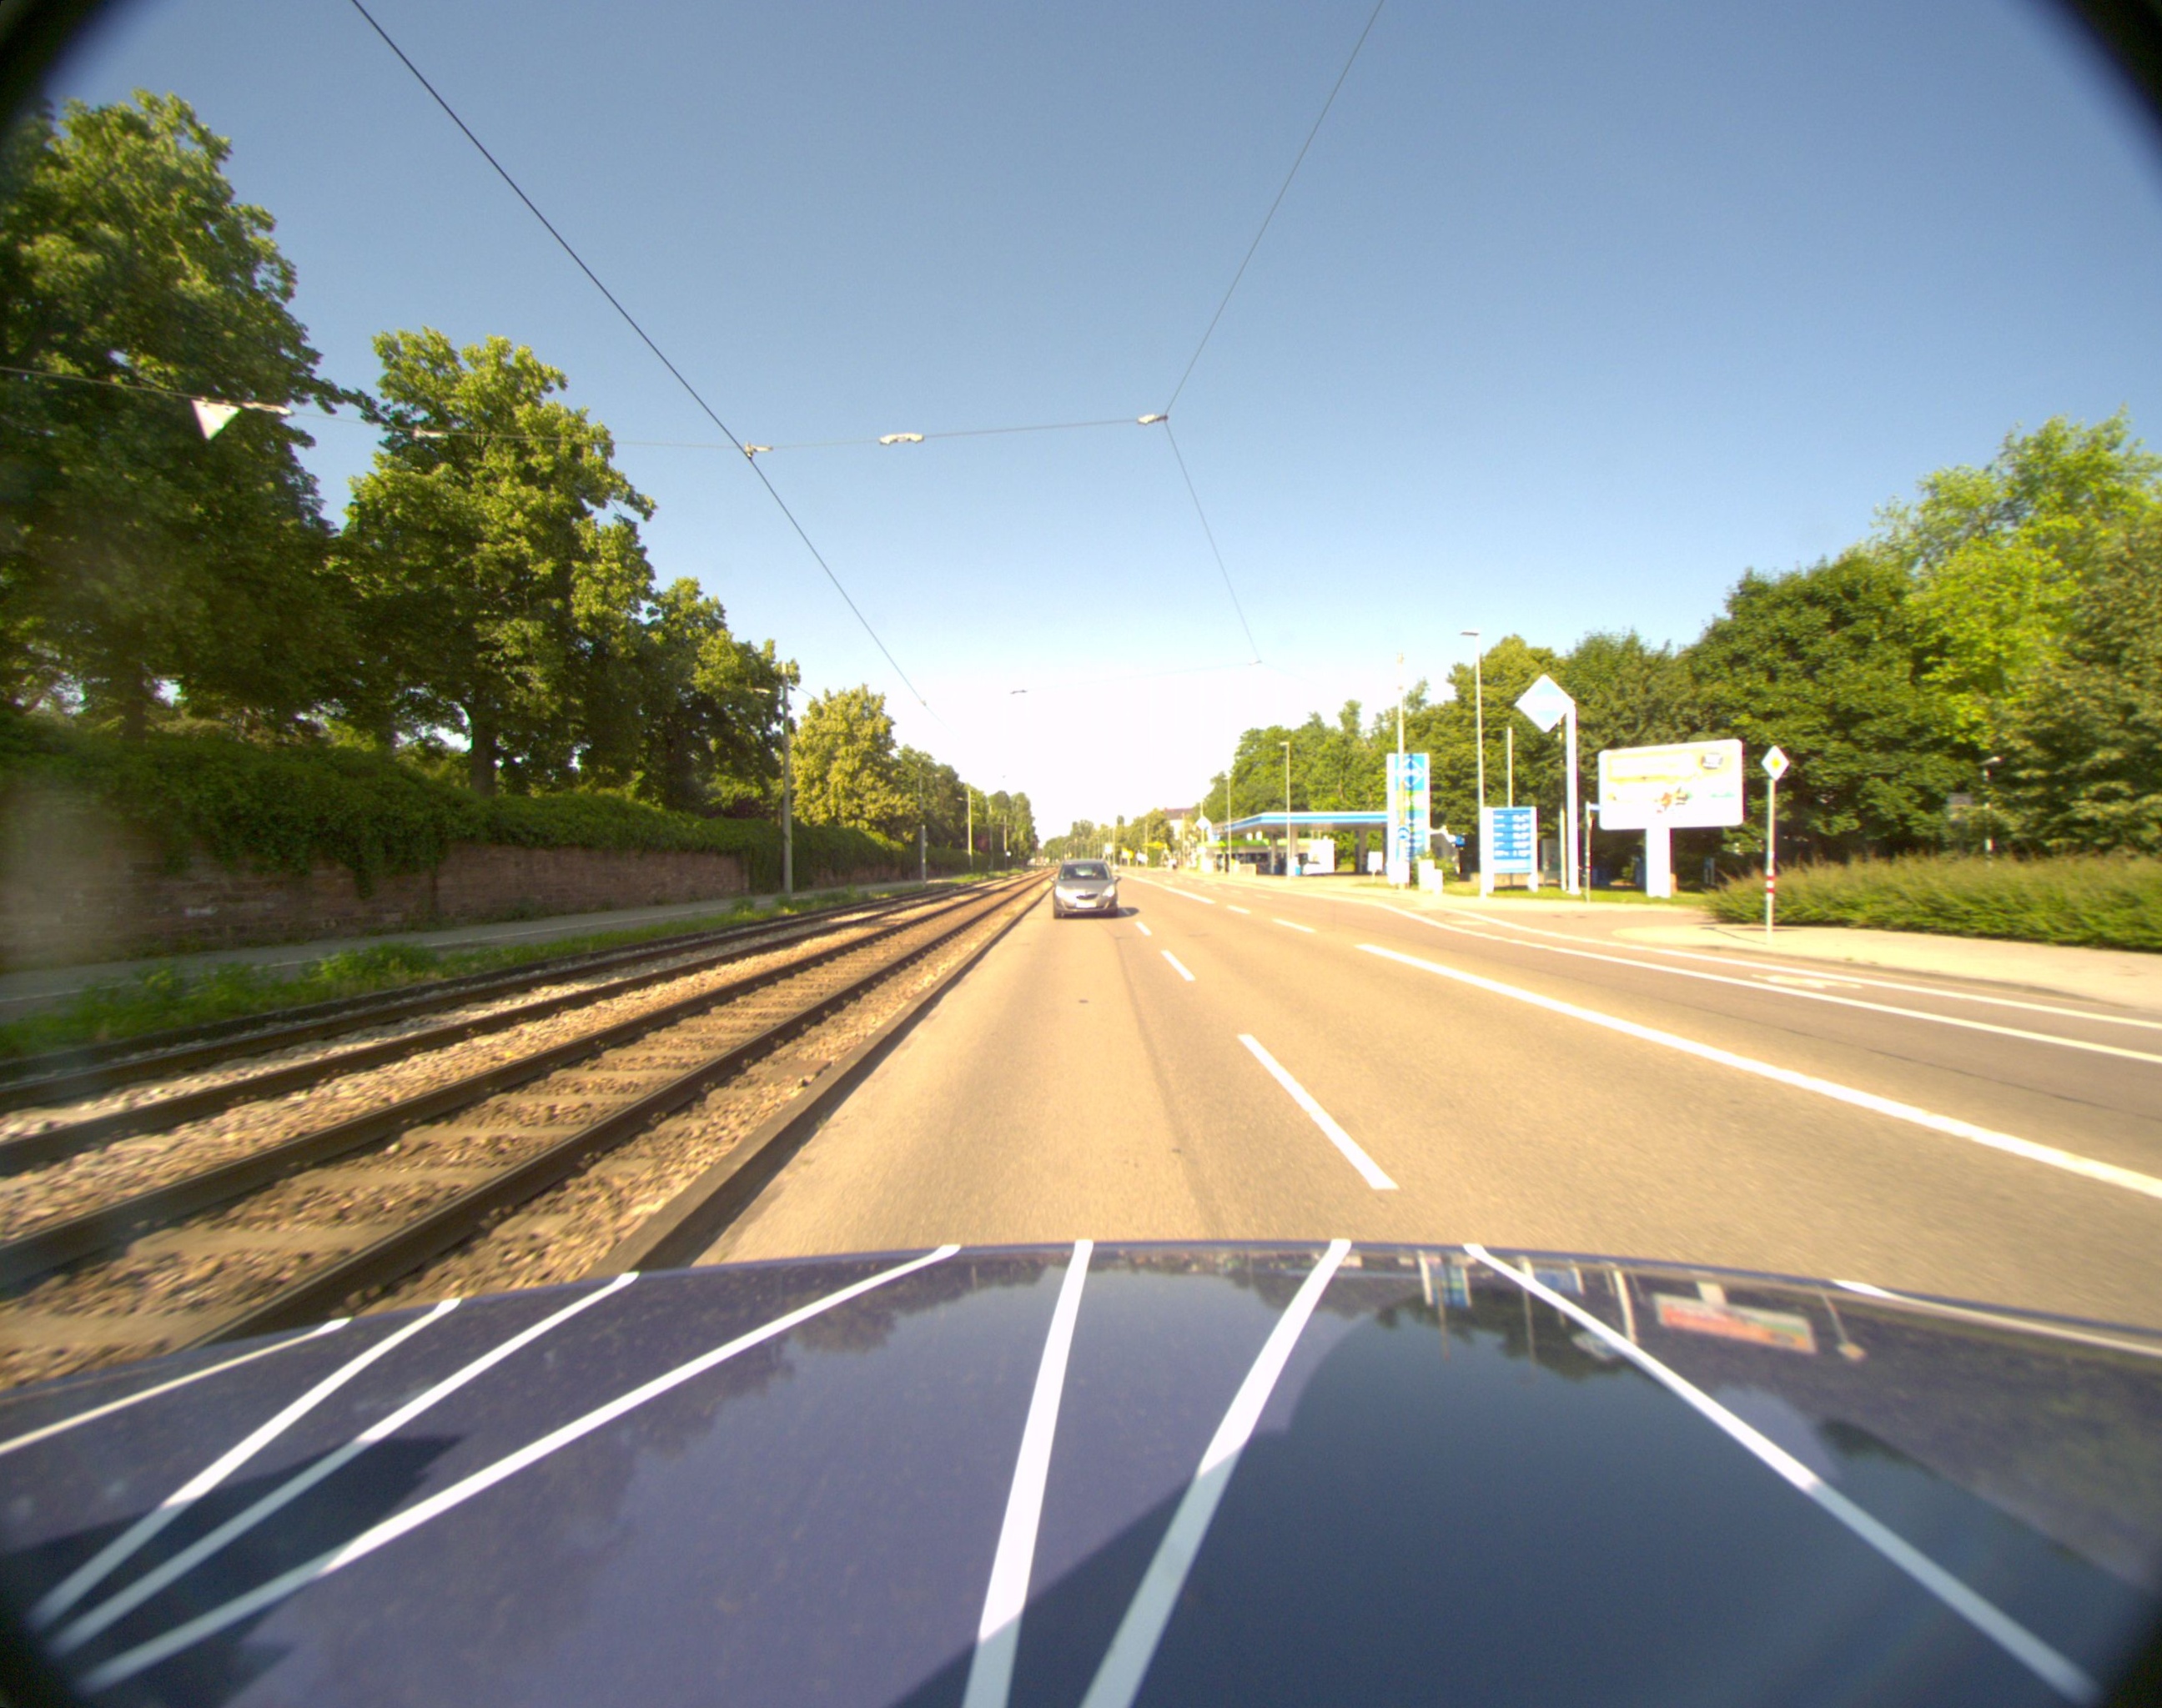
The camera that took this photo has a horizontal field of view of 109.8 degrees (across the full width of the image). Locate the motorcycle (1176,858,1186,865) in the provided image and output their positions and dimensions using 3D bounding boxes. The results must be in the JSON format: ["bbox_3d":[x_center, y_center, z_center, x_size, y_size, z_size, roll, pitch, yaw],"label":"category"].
[{"bbox_3d":[17.545,1.297,133.152,0.732,1.220,2.268,0,0,34],"label":"motorcycle"}]

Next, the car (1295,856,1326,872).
[{"bbox_3d":[21.769,0.913,72.199,1.741,1.482,4.275,0,0,1],"label":"car"}]

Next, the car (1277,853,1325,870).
[{"bbox_3d":[25.710,0.915,89.030,5.082,1.929,1.858,-1,0,4],"label":"car"}]

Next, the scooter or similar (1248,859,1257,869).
[{"bbox_3d":[20.293,1.190,89.953,1.031,1.103,0.350,-1,0,7],"label":"scooter or similar"}]

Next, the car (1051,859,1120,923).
[{"bbox_3d":[0.112,0.955,21.306,1.730,1.574,3.763,-1,0,0],"label":"car"}]

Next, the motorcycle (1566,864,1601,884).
[{"bbox_3d":[25.535,1.012,38.615,0.518,0.976,1.905,-1,0,0],"label":"motorcycle"}]

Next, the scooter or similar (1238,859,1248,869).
[{"bbox_3d":[19.174,1.207,90.047,1.143,1.110,0.350,-1,0,9],"label":"scooter or similar"}]
